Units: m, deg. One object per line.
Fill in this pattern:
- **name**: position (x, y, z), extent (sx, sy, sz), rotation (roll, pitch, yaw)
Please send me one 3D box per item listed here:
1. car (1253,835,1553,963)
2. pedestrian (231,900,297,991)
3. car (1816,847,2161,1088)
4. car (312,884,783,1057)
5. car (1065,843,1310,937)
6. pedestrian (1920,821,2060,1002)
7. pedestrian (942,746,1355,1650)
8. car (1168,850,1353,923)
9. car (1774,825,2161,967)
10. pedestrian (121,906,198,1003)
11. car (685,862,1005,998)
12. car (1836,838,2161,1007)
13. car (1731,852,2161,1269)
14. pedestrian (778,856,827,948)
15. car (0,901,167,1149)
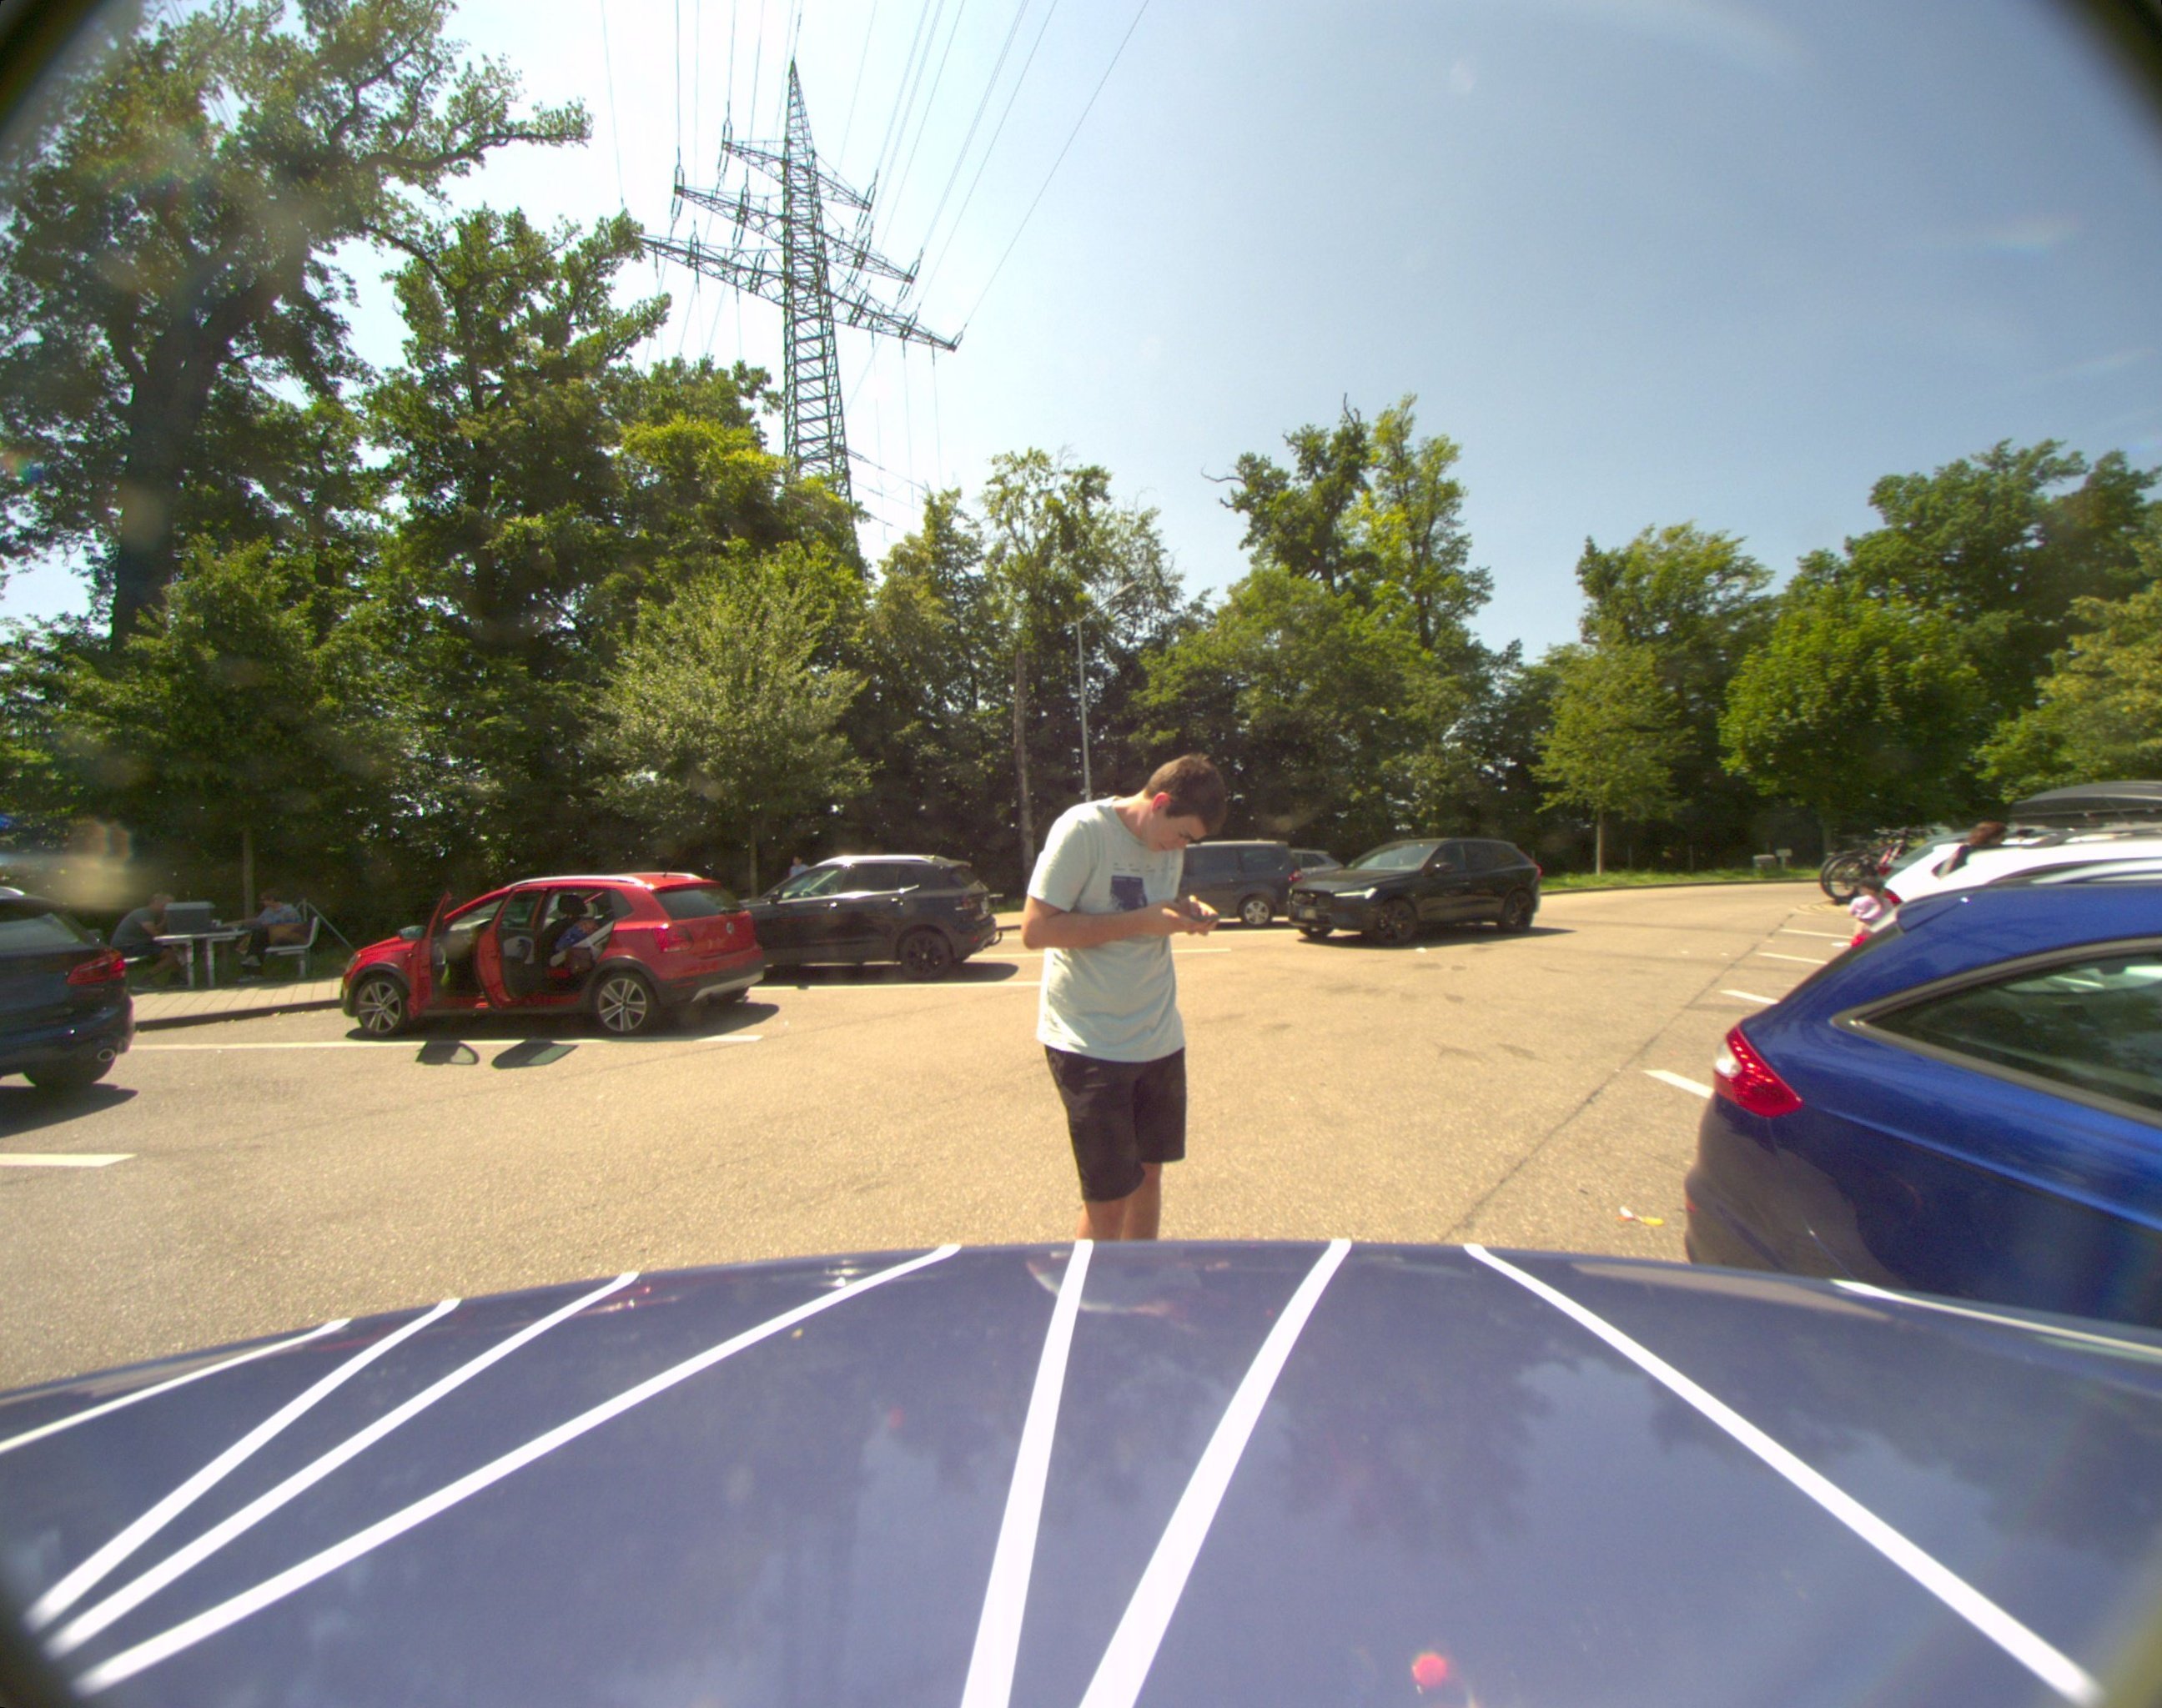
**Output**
- **car**: position (5.379, 0.617, 12.658), extent (4.623, 1.703, 1.996), rotation (-2, 1, -25)
- **pedestrian**: position (-11.949, 1.317, 11.119), extent (0.695, 1.228, 0.588), rotation (-3, 0, 43)
- **car**: position (7.477, 0.674, 4.505), extent (1.776, 1.418, 4.495), rotation (-3, -1, -1)
- **car**: position (-5.188, 1.098, 7.629), extent (3.730, 1.440, 1.591), rotation (-2, 0, 7)
- **car**: position (2.140, 0.715, 15.464), extent (4.619, 1.701, 1.740), rotation (-2, 0, 9)
- **pedestrian**: position (8.876, 0.523, 7.445), extent (0.677, 1.653, 0.831), rotation (-2, 1, -40)
- **pedestrian**: position (0.130, 0.727, 2.063), extent (0.862, 1.940, 0.687), rotation (-3, 1, -16)
- **car**: position (4.144, 0.744, 18.002), extent (3.996, 1.495, 1.687), rotation (-2, 1, 3)
- **car**: position (12.541, 0.475, 10.363), extent (1.777, 1.541, 4.493), rotation (-3, -1, -5)
- **pedestrian**: position (-12.630, 1.352, 10.430), extent (0.695, 1.228, 0.588), rotation (-3, 0, 43)
- **car**: position (-3.031, 0.955, 10.306), extent (3.732, 1.578, 1.739), rotation (-2, 0, 2)
- **car**: position (10.110, 0.570, 6.892), extent (1.777, 1.418, 4.493), rotation (-3, -1, -5)
- **car**: position (4.874, 0.744, 2.347), extent (1.776, 1.491, 4.495), rotation (-3, -1, -1)
- **pedestrian**: position (-5.754, 0.973, 15.678), extent (0.767, 1.821, 0.519), rotation (-3, 1, -35)
- **car**: position (-8.883, 1.172, 4.984), extent (3.934, 1.534, 1.812), rotation (-2, 0, 7)
